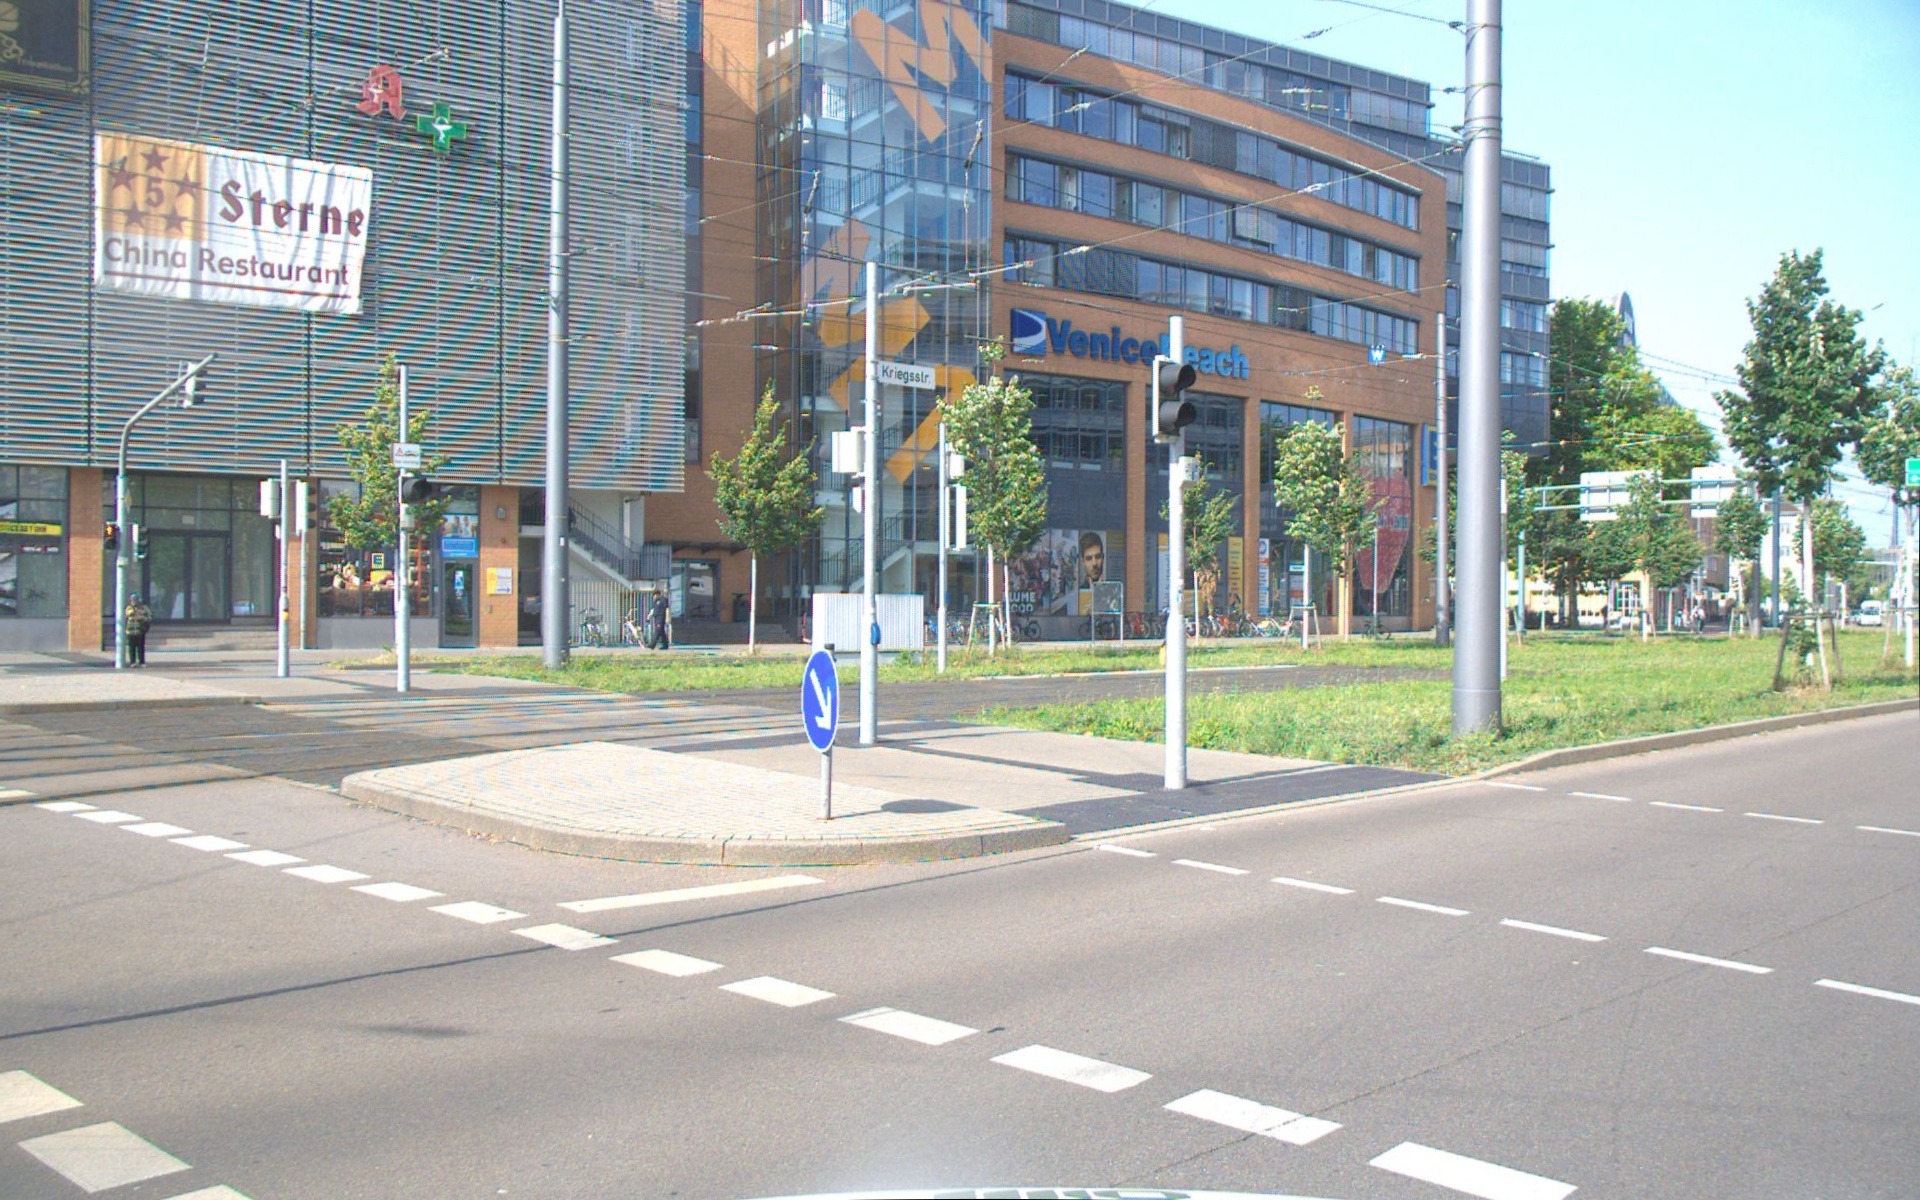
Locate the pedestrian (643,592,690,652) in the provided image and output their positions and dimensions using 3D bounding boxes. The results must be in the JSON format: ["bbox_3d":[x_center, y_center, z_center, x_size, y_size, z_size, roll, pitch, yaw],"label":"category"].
[{"bbox_3d":[-8.721,0.638,49.185,1.162,1.749,0.810,1,0,-34],"label":"pedestrian"}]

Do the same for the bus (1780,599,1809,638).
[{"bbox_3d":[91.478,2.057,181.255,2.693,3.990,12.201,0,-2,27],"label":"bus"}]

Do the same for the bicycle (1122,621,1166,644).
[{"bbox_3d":[7.626,1.343,68.637,0.567,0.938,2.026,1,0,-38],"label":"bicycle"}]

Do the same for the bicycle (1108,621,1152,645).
[{"bbox_3d":[7.000,1.341,68.038,0.567,0.938,2.026,1,0,-38],"label":"bicycle"}]

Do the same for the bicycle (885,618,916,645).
[{"bbox_3d":[-2.046,1.073,56.596,0.254,0.902,1.449,3,-2,-37],"label":"bicycle"}]

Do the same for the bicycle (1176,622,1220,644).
[{"bbox_3d":[10.209,1.405,70.924,0.567,0.938,2.026,1,0,-38],"label":"bicycle"}]

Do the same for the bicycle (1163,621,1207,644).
[{"bbox_3d":[9.565,1.375,70.366,0.567,0.938,2.026,1,0,-38],"label":"bicycle"}]

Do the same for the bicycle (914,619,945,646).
[{"bbox_3d":[-1.056,1.124,57.484,0.254,0.845,1.449,3,0,-37],"label":"bicycle"}]

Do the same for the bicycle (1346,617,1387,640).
[{"bbox_3d":[17.344,1.209,70.529,0.701,0.923,1.661,2,-1,-33],"label":"bicycle"}]

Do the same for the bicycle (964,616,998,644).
[{"bbox_3d":[0.740,1.043,58.522,0.406,0.956,1.566,1,0,-32],"label":"bicycle"}]

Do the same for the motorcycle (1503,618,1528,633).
[{"bbox_3d":[40.135,1.830,119.544,1.660,1.012,0.283,0,1,33],"label":"motorcycle"}]

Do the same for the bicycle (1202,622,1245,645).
[{"bbox_3d":[11.493,1.464,72.155,0.567,0.938,2.026,1,0,-38],"label":"bicycle"}]

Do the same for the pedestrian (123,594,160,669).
[{"bbox_3d":[-17.793,0.678,35.939,0.584,1.607,0.753,1,-1,-38],"label":"pedestrian"}]

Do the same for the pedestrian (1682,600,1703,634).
[{"bbox_3d":[45.858,1.067,103.498,1.133,2.049,0.775,0,-2,29],"label":"pedestrian"}]

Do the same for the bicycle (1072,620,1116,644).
[{"bbox_3d":[5.394,1.267,66.619,0.567,0.938,2.026,1,0,-38],"label":"bicycle"}]

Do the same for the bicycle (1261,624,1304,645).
[{"bbox_3d":[14.552,1.558,74.744,0.567,0.938,2.026,1,0,-38],"label":"bicycle"}]

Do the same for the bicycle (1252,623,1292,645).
[{"bbox_3d":[14.017,1.533,74.247,0.377,0.938,2.026,1,0,-38],"label":"bicycle"}]

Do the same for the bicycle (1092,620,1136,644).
[{"bbox_3d":[6.260,1.306,67.427,0.567,0.938,2.026,1,0,-38],"label":"bicycle"}]

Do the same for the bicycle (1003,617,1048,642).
[{"bbox_3d":[2.552,1.143,64.349,0.567,0.938,2.026,1,0,-38],"label":"bicycle"}]

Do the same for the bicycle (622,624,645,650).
[{"bbox_3d":[-9.806,1.116,49.633,0.356,0.765,1.013,1,0,-32],"label":"bicycle"}]

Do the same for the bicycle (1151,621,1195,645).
[{"bbox_3d":[8.959,1.387,69.759,0.567,0.938,2.026,1,0,-38],"label":"bicycle"}]

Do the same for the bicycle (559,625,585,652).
[{"bbox_3d":[-11.406,1.117,48.601,0.446,0.765,0.995,1,0,-32],"label":"bicycle"}]

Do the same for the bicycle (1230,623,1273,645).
[{"bbox_3d":[12.860,1.488,73.093,0.567,0.938,2.026,1,0,-38],"label":"bicycle"}]

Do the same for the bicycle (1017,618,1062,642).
[{"bbox_3d":[3.096,1.168,64.836,0.567,0.938,2.026,1,0,-38],"label":"bicycle"}]

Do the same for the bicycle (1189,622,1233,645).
[{"bbox_3d":[10.841,1.447,71.543,0.567,0.938,2.026,1,0,-38],"label":"bicycle"}]

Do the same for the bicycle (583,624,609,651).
[{"bbox_3d":[-10.790,1.110,48.988,0.446,0.765,0.995,1,0,-32],"label":"bicycle"}]

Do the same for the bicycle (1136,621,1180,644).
[{"bbox_3d":[8.262,1.340,69.175,0.567,0.938,2.026,1,0,-38],"label":"bicycle"}]
